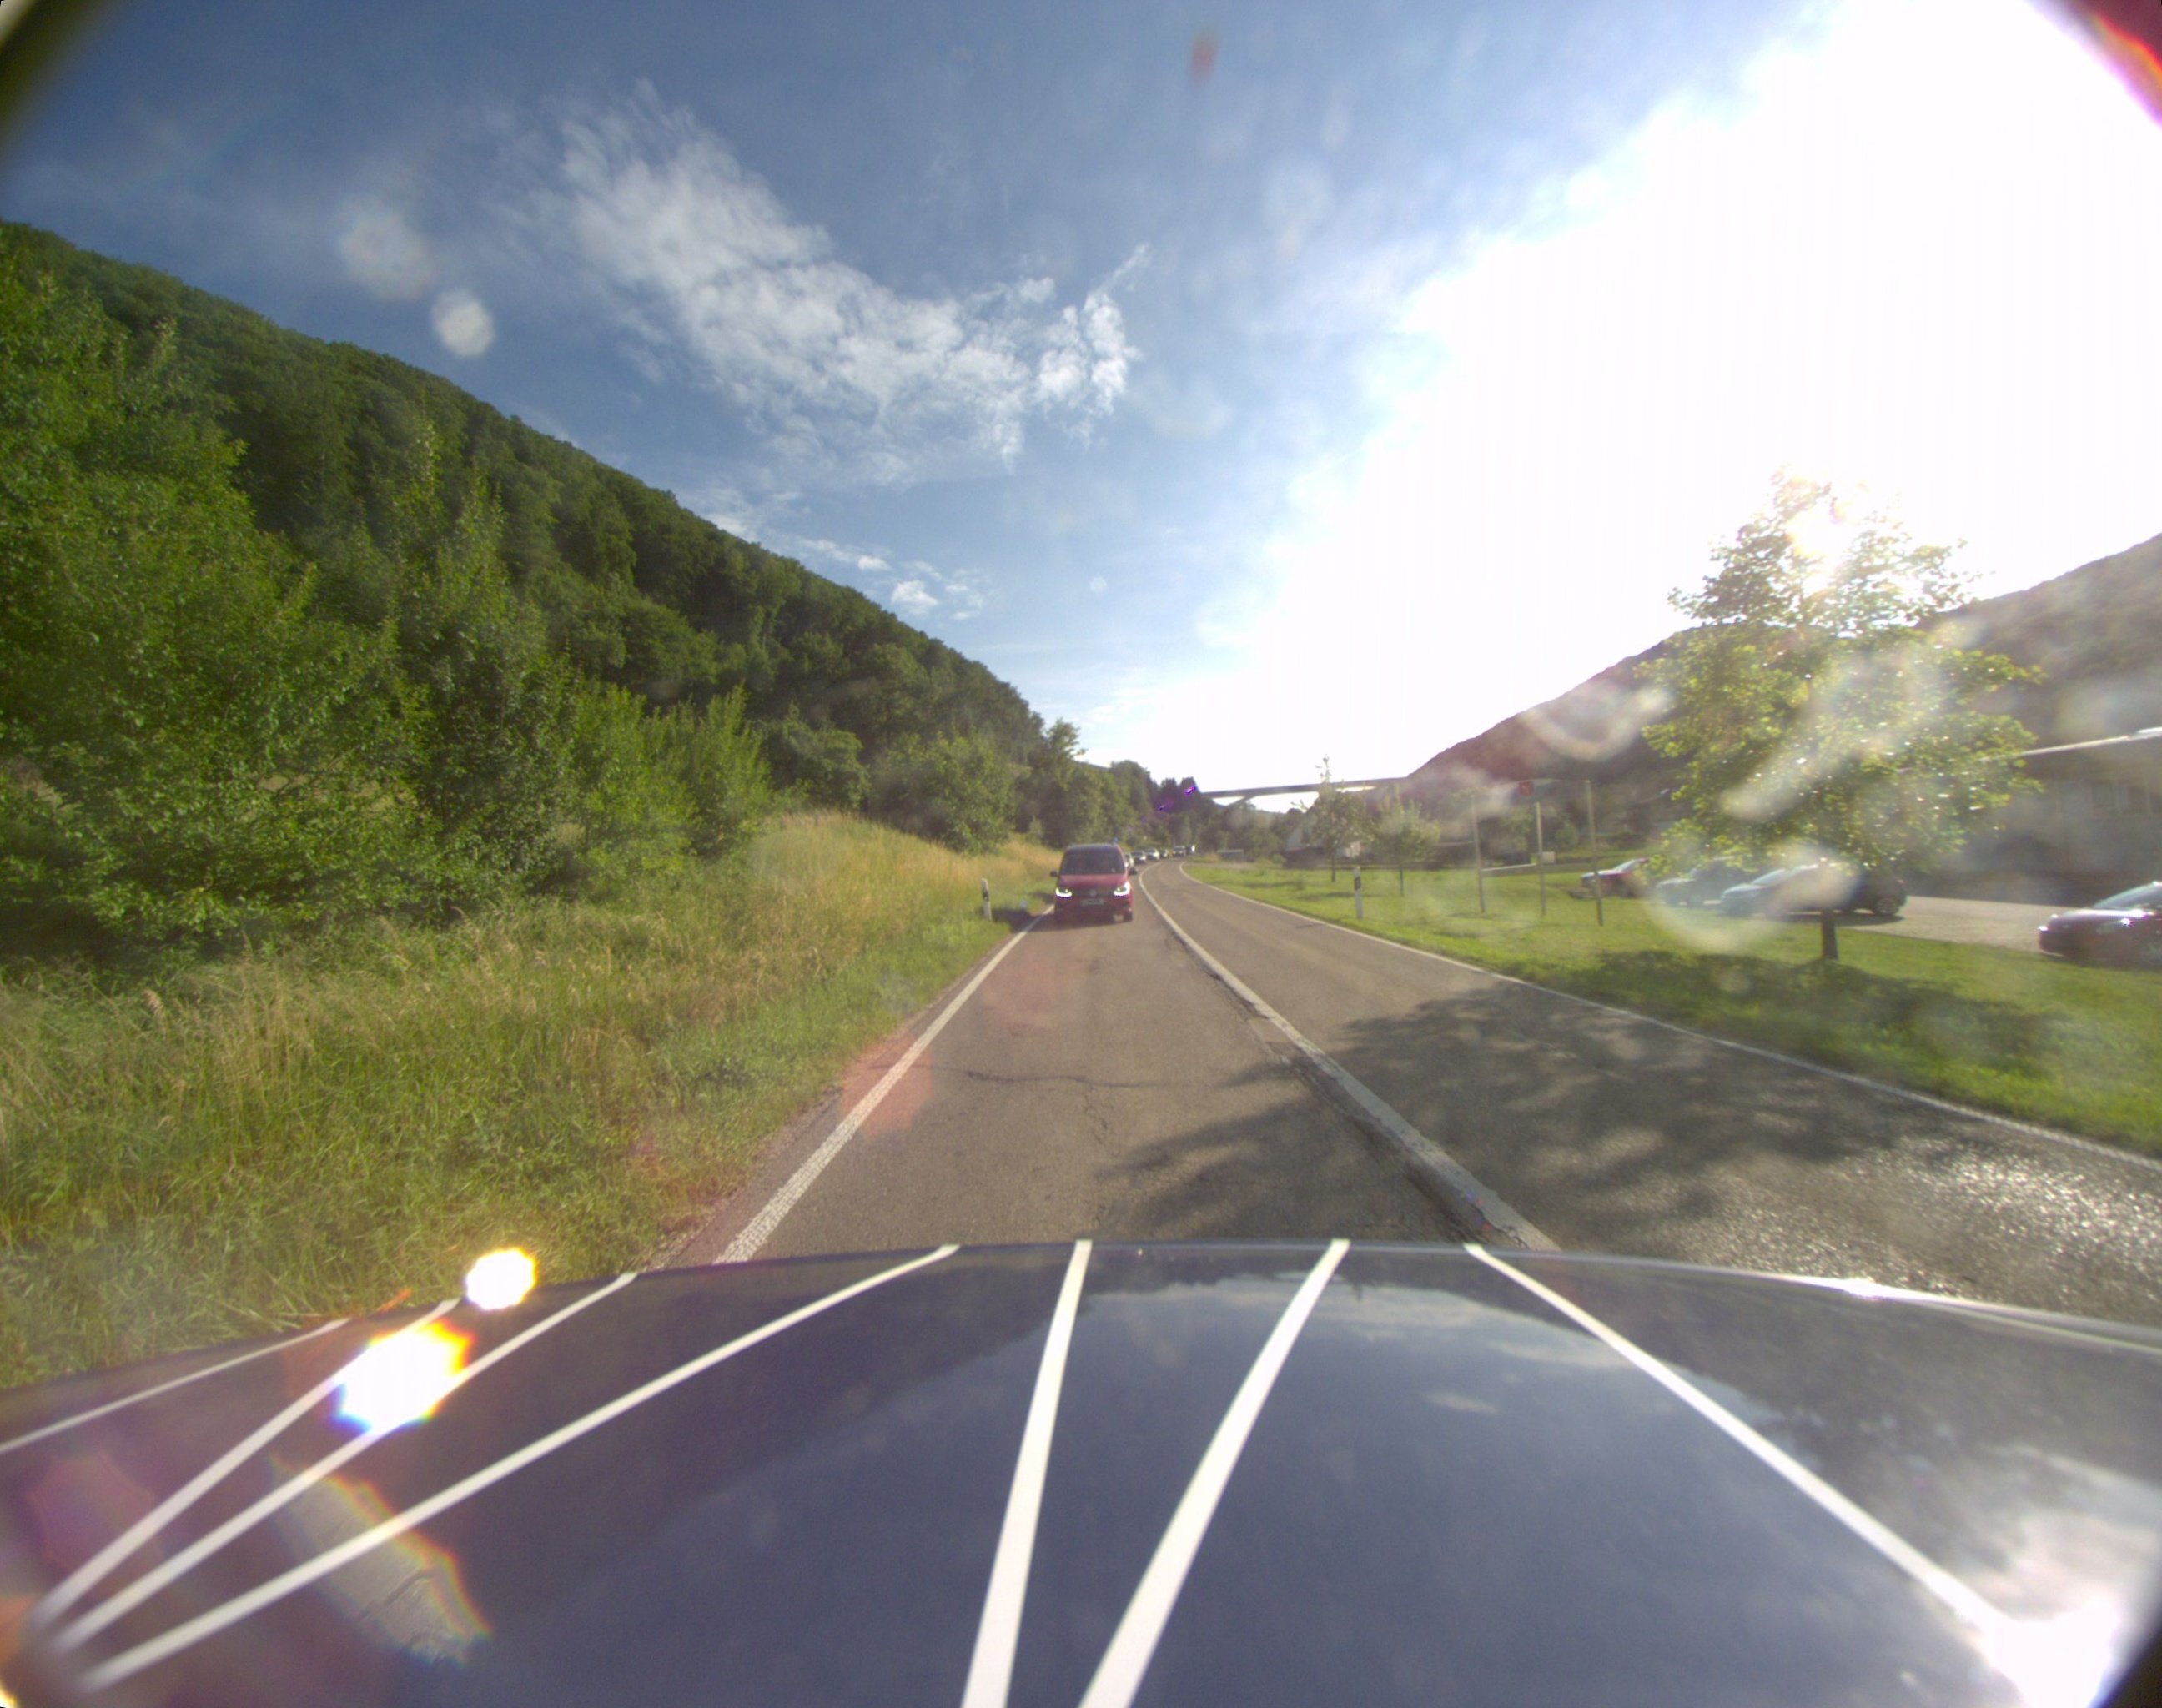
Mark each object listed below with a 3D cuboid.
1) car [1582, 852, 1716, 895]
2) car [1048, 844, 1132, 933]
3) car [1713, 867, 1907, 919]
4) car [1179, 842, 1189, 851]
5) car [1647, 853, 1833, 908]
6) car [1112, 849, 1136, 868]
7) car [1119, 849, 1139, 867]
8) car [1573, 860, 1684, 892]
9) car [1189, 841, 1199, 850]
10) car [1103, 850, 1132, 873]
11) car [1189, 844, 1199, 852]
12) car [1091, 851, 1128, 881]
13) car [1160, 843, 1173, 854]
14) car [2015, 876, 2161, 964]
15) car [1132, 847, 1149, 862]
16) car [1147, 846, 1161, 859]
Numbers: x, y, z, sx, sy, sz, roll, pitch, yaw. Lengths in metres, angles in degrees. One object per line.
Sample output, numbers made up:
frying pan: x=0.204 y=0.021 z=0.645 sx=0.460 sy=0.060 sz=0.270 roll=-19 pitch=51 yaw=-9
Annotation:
car: x=24.889 y=0.840 z=33.440 sx=4.327 sy=1.659 sz=1.850 roll=-2 pitch=1 yaw=17
car: x=0.312 y=0.700 z=17.685 sx=1.649 sy=1.762 sz=4.000 roll=-2 pitch=1 yaw=4
car: x=22.319 y=1.189 z=23.419 sx=4.014 sy=1.443 sz=1.686 roll=-2 pitch=-1 yaw=10
car: x=17.490 y=-1.319 z=129.492 sx=1.629 sy=1.470 sz=3.680 roll=-2 pitch=1 yaw=7
car: x=24.114 y=0.957 z=27.970 sx=5.000 sy=1.783 sz=1.685 roll=-2 pitch=1 yaw=10
car: x=3.715 y=0.373 z=65.039 sx=1.629 sy=1.470 sz=3.681 roll=-2 pitch=1 yaw=8
car: x=4.224 y=0.316 z=66.227 sx=1.629 sy=1.470 sz=3.680 roll=-2 pitch=1 yaw=4
car: x=26.053 y=1.065 z=36.311 sx=3.892 sy=1.360 sz=1.854 roll=-1 pitch=1 yaw=13
car: x=21.075 y=-1.634 z=141.998 sx=1.629 sy=1.470 sz=3.682 roll=-2 pitch=1 yaw=11
car: x=2.631 y=0.514 z=53.991 sx=1.629 sy=1.470 sz=3.681 roll=-2 pitch=1 yaw=8
car: x=22.426 y=-1.266 z=150.623 sx=1.629 sy=1.470 sz=3.682 roll=-2 pitch=1 yaw=11
car: x=1.662 y=0.650 z=42.850 sx=1.629 sy=1.470 sz=3.681 roll=-2 pitch=1 yaw=8
car: x=12.686 y=-0.787 z=112.480 sx=1.629 sy=1.470 sz=3.682 roll=-2 pitch=1 yaw=11
car: x=20.007 y=1.149 z=13.746 sx=3.727 sy=1.390 sz=1.617 roll=-2 pitch=1 yaw=12
car: x=6.287 y=0.045 z=80.383 sx=1.629 sy=1.470 sz=3.680 roll=-2 pitch=1 yaw=4
car: x=9.113 y=-0.159 z=95.362 sx=1.629 sy=1.470 sz=3.680 roll=-2 pitch=1 yaw=4
